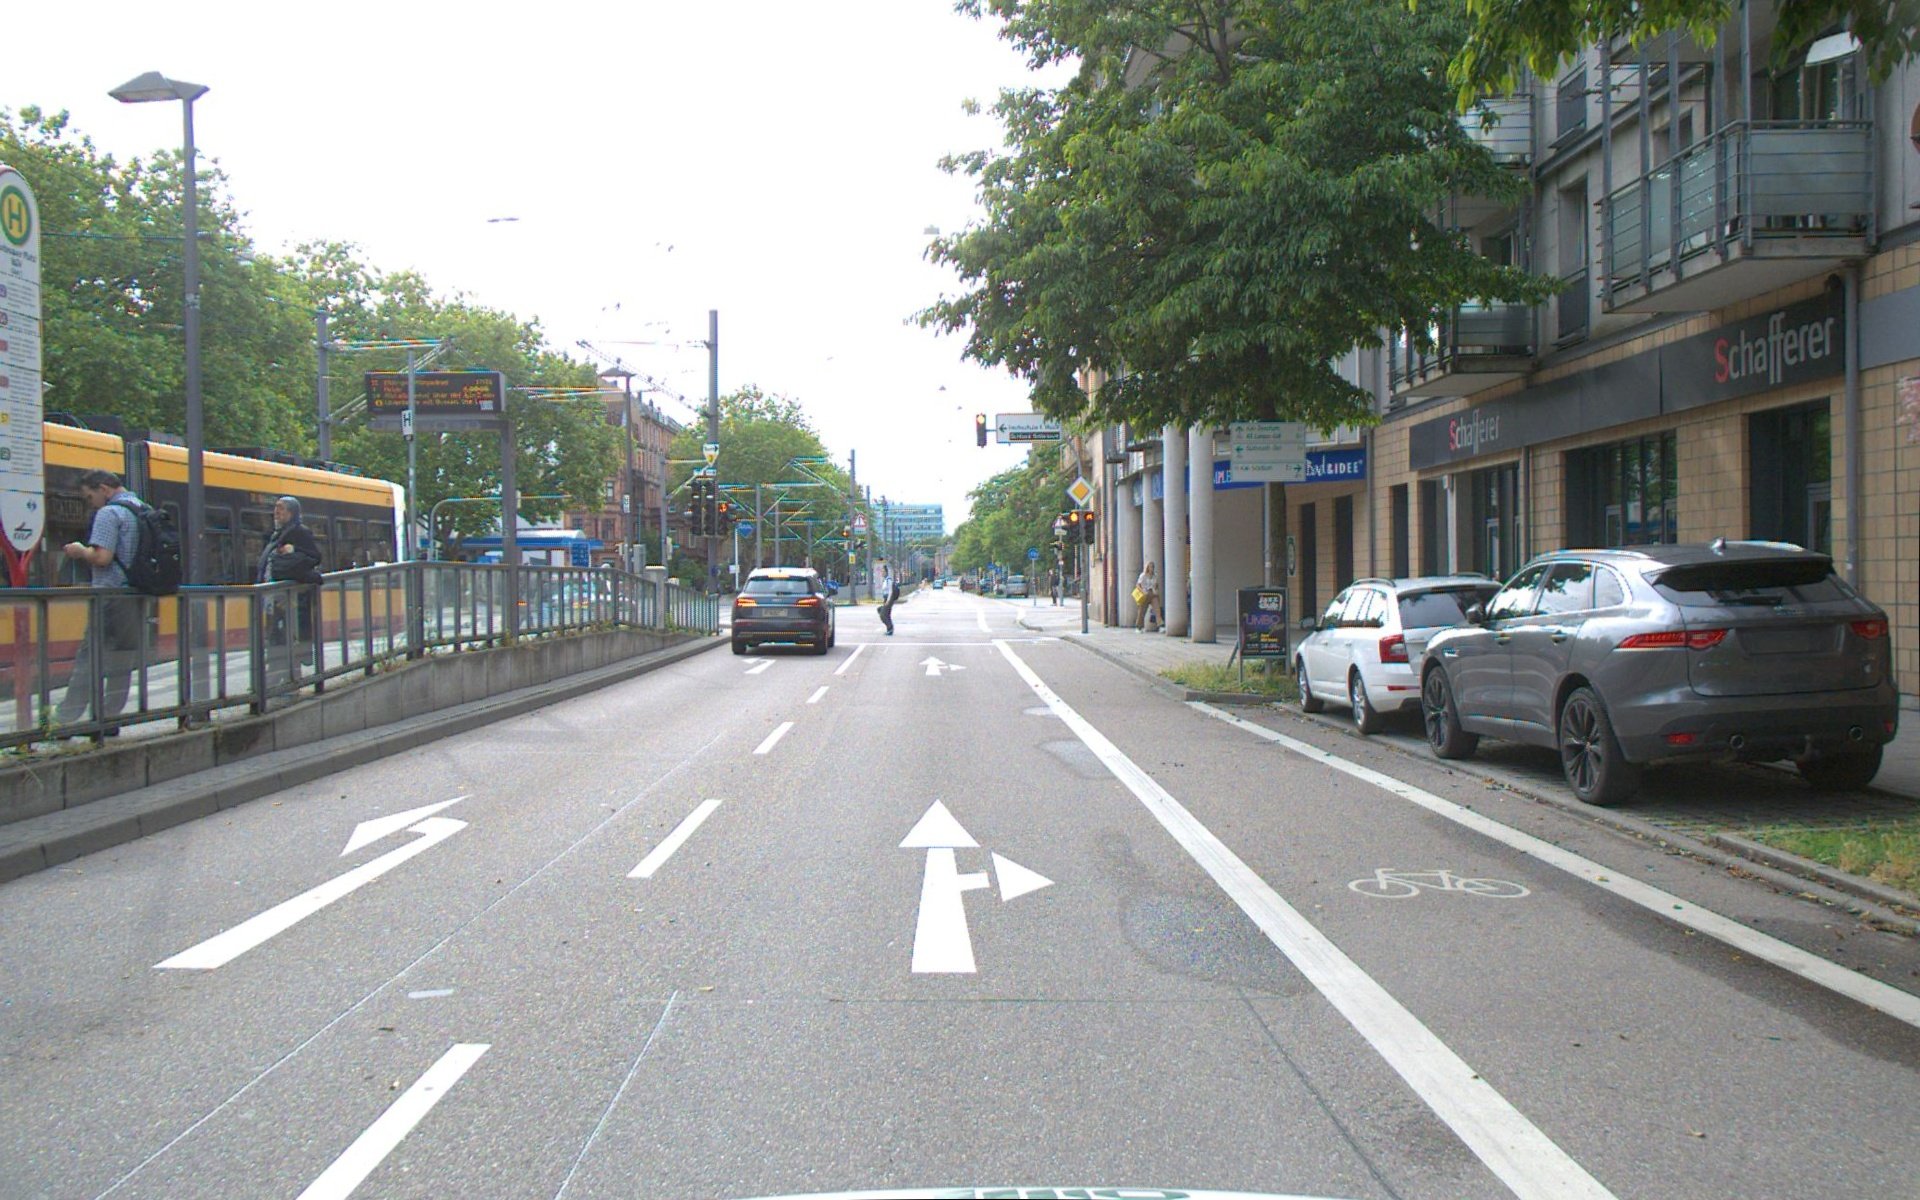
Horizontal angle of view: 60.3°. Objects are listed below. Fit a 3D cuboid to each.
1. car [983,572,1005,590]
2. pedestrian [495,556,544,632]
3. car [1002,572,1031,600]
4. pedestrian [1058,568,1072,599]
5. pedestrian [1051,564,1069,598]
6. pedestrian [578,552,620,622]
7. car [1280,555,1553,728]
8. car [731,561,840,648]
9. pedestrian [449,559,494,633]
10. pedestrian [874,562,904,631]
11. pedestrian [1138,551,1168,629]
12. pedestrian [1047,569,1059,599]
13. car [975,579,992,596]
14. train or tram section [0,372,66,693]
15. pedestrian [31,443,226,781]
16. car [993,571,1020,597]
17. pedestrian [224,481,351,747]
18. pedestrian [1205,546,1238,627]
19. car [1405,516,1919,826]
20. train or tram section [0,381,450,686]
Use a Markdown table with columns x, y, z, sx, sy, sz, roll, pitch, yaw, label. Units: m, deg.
| x | y | z | sx | sy | sz | roll | pitch | yaw | label |
| --- | --- | --- | --- | --- | --- | --- | --- | --- | --- |
| 3.262 | -1.817 | 160.934 | 1.953 | 1.635 | 4.163 | -2 | 1 | -1 | car |
| -10.700 | -0.150 | 40.168 | 1.113 | 1.809 | 0.625 | 0 | 0 | -19 | pedestrian |
| 4.156 | -1.044 | 122.703 | 1.953 | 2.049 | 3.999 | 1 | 1 | -1 | car |
| 5.371 | -0.847 | 84.347 | 0.640 | 1.564 | 0.465 | 1 | 0 | -5 | pedestrian |
| 5.021 | -0.957 | 83.165 | 0.834 | 1.683 | 0.508 | 1 | 0 | -3 | pedestrian |
| -9.451 | -0.335 | 43.325 | 0.900 | 1.815 | 0.645 | 1 | 0 | 37 | pedestrian |
| 4.687 | 0.359 | 17.625 | 1.642 | 1.525 | 4.390 | -3 | 1 | 0 | car |
| -3.434 | 0.066 | 33.219 | 1.842 | 1.629 | 4.356 | 0 | 1 | -2 | car |
| -12.274 | -0.104 | 41.532 | 0.998 | 1.845 | 0.580 | 1 | 0 | -24 | pedestrian |
| -1.772 | -0.088 | 41.474 | 0.713 | 1.690 | 0.756 | 1 | 0 | -1 | pedestrian |
| 4.665 | -0.244 | 39.971 | 0.603 | 1.837 | 0.737 | -1 | 1 | 0 | pedestrian |
| 4.758 | -0.828 | 85.014 | 0.535 | 1.564 | 0.465 | 1 | 0 | -5 | pedestrian |
| 2.906 | -1.517 | 205.045 | 1.953 | 2.049 | 3.999 | 1 | 1 | -1 | car |
| -12.152 | -0.697 | 12.224 | 2.998 | 3.593 | 15.292 | 1 | 1 | -1 | train or tram section |
| -5.281 | 0.065 | 10.532 | 0.737 | 2.049 | 0.818 | 1 | 0 | 22 | pedestrian |
| 3.730 | -1.265 | 132.129 | 1.953 | 2.049 | 3.999 | 1 | 1 | -1 | car |
| -5.420 | 0.104 | 13.320 | 0.747 | 2.049 | 0.807 | 0 | 0 | -38 | pedestrian |
| 6.310 | -0.326 | 39.940 | 0.661 | 1.923 | 0.737 | -1 | 1 | 0 | pedestrian |
| 4.878 | 0.394 | 12.185 | 1.677 | 1.746 | 4.709 | -3 | 1 | -2 | car |
| -12.400 | -0.900 | 27.782 | 2.998 | 3.651 | 15.846 | 1 | 1 | -1 | train or tram section |
